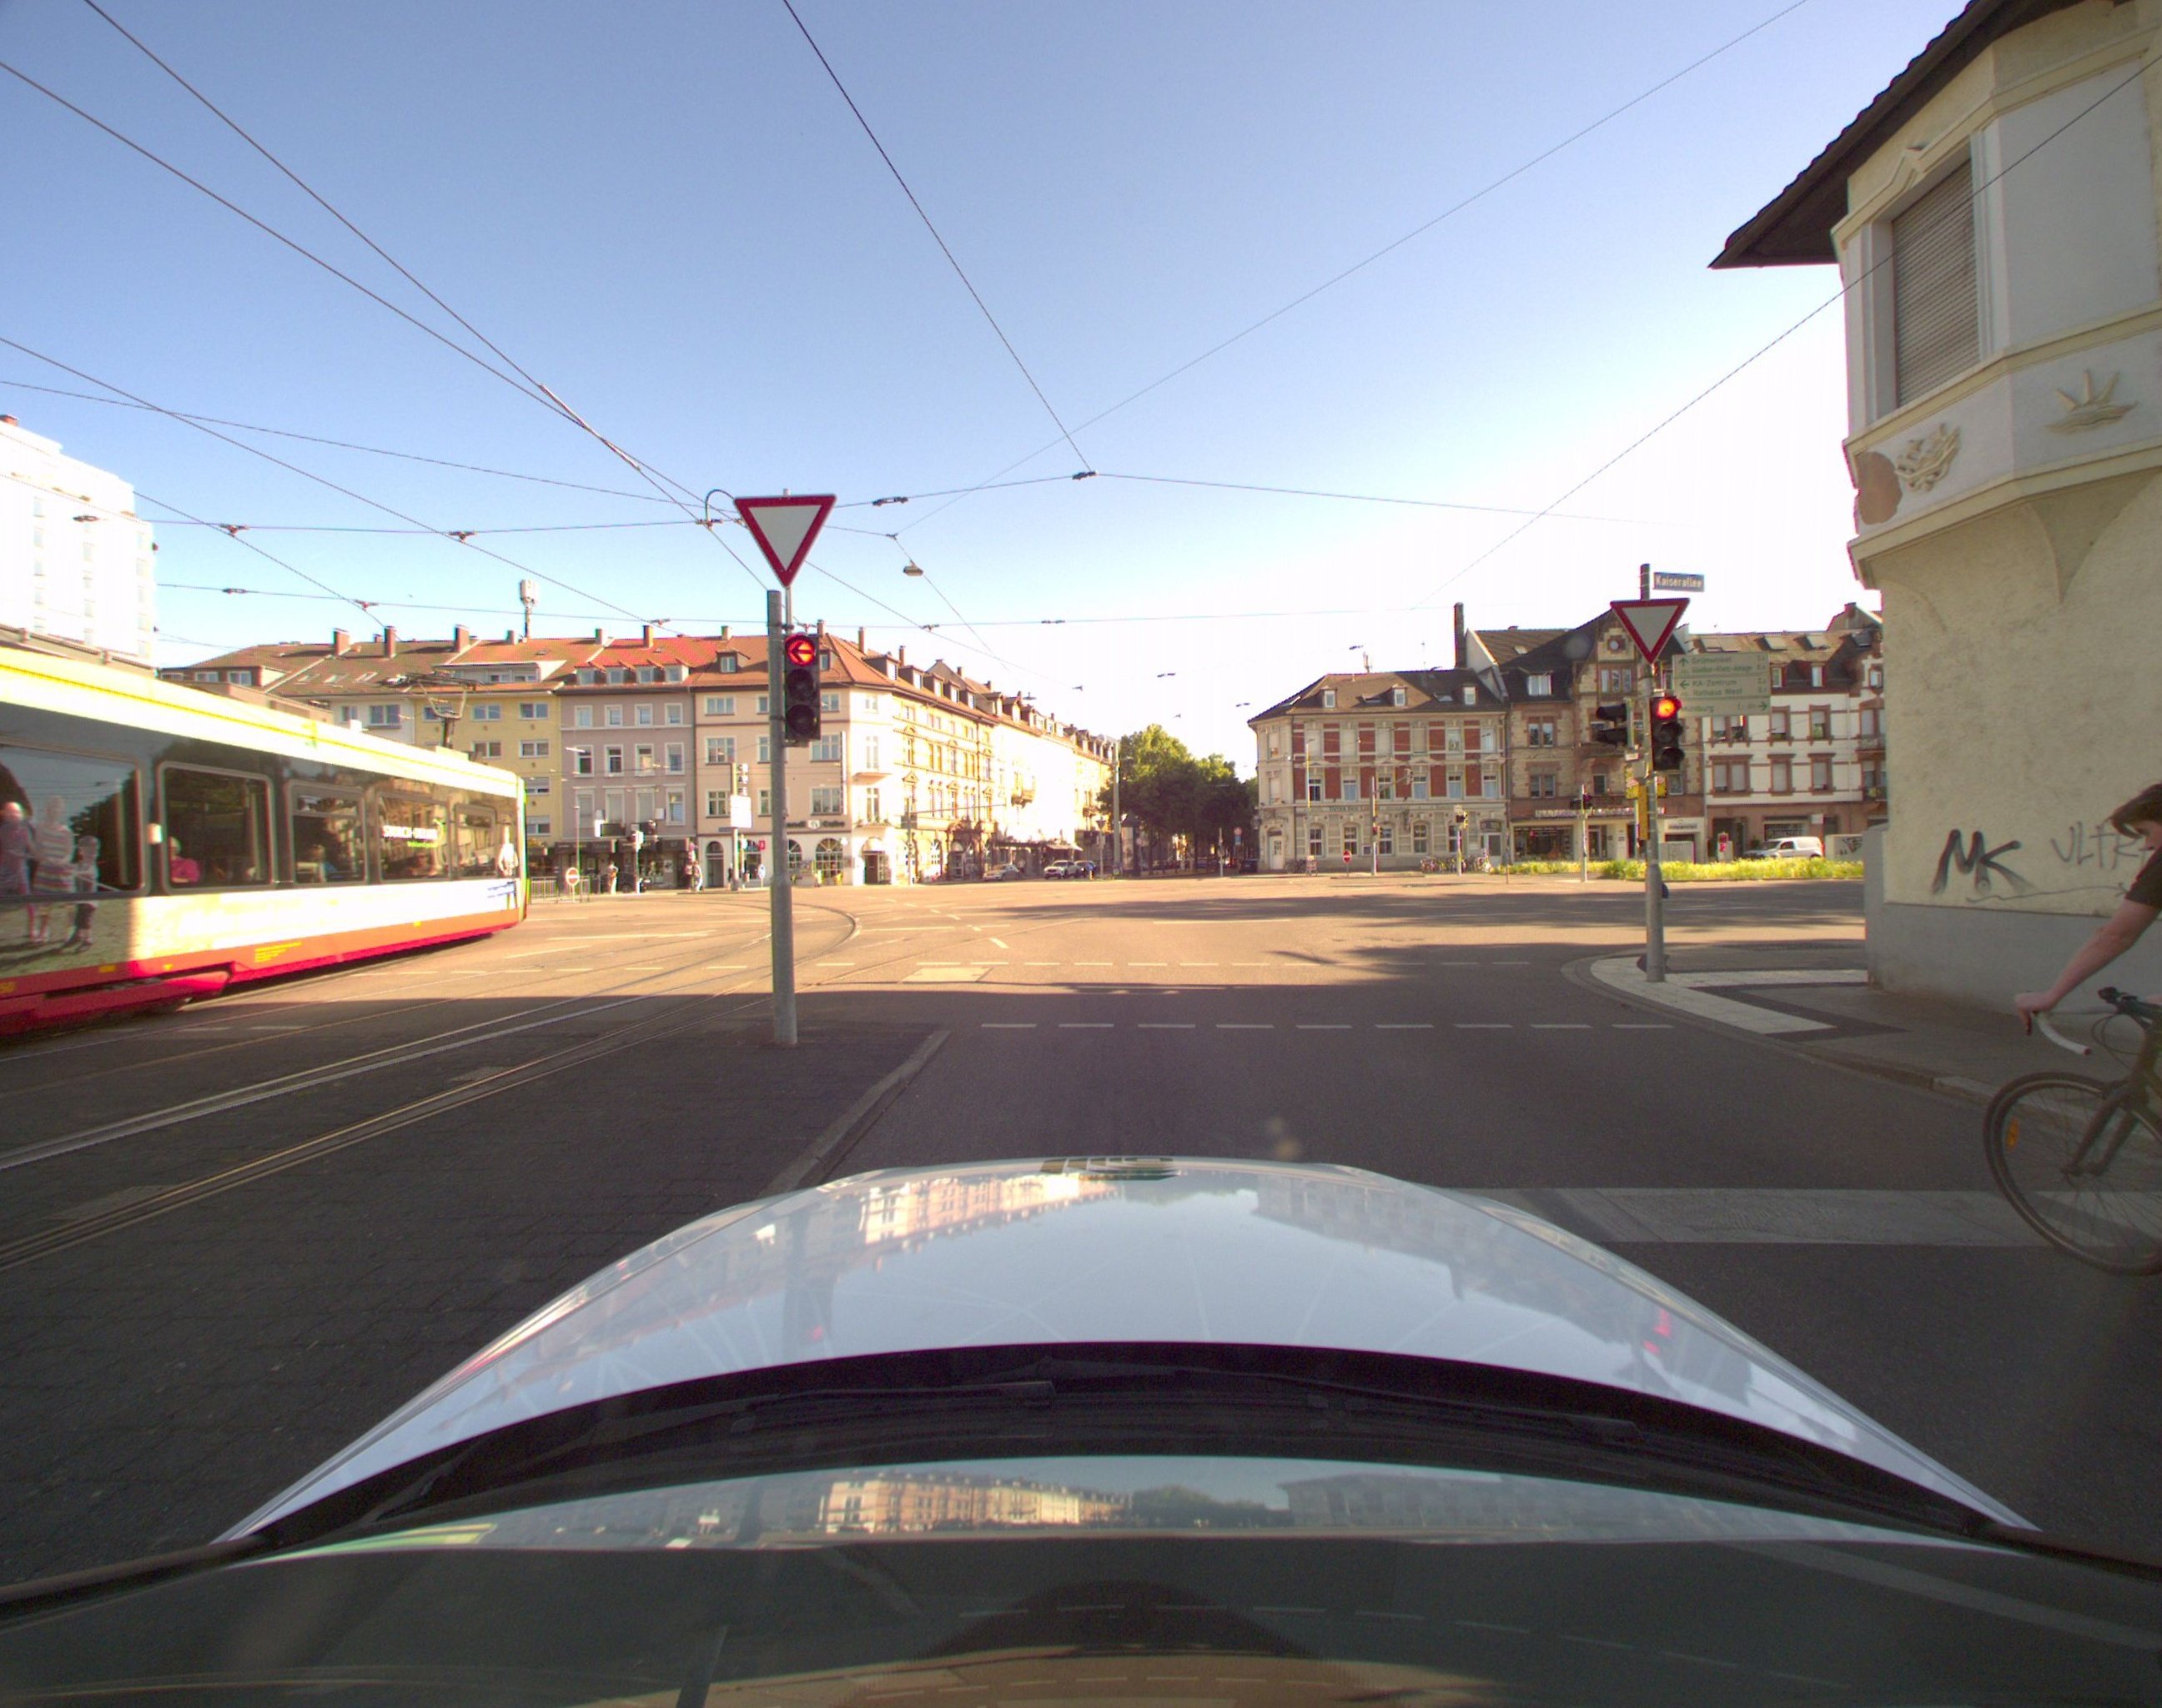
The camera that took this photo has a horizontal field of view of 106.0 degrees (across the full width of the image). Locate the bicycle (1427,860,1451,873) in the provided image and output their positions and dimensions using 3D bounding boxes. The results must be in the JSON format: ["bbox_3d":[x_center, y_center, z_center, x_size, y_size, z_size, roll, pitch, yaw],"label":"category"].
[{"bbox_3d":[23.165,0.818,52.739,0.656,0.840,2.162,0,-1,3],"label":"bicycle"}]

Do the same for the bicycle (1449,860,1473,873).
[{"bbox_3d":[24.572,0.808,52.731,0.656,0.840,2.162,0,-1,3],"label":"bicycle"}]

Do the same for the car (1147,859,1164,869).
[{"bbox_3d":[11.257,1.531,122.348,1.664,1.354,3.608,-2,0,19],"label":"car"}]

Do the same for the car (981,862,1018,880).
[{"bbox_3d":[-6.703,1.424,67.214,1.664,1.354,3.608,-2,0,19],"label":"car"}]

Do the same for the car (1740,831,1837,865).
[{"bbox_3d":[45.447,-0.384,52.382,4.406,2.013,2.002,-1,0,4],"label":"car"}]

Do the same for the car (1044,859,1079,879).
[{"bbox_3d":[-1.598,1.214,67.497,1.664,1.483,3.789,-2,0,19],"label":"car"}]

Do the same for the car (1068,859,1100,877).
[{"bbox_3d":[0.315,1.241,73.756,1.664,1.483,3.967,-2,0,19],"label":"car"}]

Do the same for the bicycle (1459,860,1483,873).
[{"bbox_3d":[25.209,0.802,52.686,0.656,0.840,2.162,0,-1,3],"label":"bicycle"}]

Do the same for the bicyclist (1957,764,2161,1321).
[{"bbox_3d":[3.573,0.572,2.487,0.570,1.701,1.117,-1,0,2],"label":"bicyclist"}]

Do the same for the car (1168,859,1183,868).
[{"bbox_3d":[15.736,1.524,135.586,1.664,1.354,3.608,-2,0,19],"label":"car"}]

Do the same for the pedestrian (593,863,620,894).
[{"bbox_3d":[-24.811,1.287,42.578,0.842,1.577,0.836,-1,-1,11],"label":"pedestrian"}]

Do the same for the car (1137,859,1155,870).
[{"bbox_3d":[9.186,1.494,115.432,1.664,1.354,3.608,-2,0,19],"label":"car"}]

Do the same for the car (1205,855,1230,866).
[{"bbox_3d":[21.464,1.061,127.705,3.549,1.648,1.691,-2,0,19],"label":"car"}]

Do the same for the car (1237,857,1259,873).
[{"bbox_3d":[16.912,1.097,82.319,1.664,1.483,3.967,-2,0,19],"label":"car"}]

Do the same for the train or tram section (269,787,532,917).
[{"bbox_3d":[-23.819,0.048,28.169,11.965,3.814,2.960,-1,0,30],"label":"train or tram section"}]

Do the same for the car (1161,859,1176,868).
[{"bbox_3d":[14.049,1.505,130.594,1.664,1.354,3.608,-2,0,19],"label":"car"}]

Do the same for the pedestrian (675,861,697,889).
[{"bbox_3d":[-22.431,1.191,46.267,0.720,1.577,0.836,-1,-1,11],"label":"pedestrian"}]

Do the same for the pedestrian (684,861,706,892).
[{"bbox_3d":[-19.961,1.139,42.095,0.545,1.577,0.838,-1,-1,29],"label":"pedestrian"}]

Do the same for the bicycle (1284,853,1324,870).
[{"bbox_3d":[15.608,0.499,57.044,2.547,1.174,0.818,0,-1,-1],"label":"bicycle"}]

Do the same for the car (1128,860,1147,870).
[{"bbox_3d":[7.711,1.491,111.309,1.664,1.354,3.608,-2,0,19],"label":"car"}]

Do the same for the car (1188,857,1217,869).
[{"bbox_3d":[17.217,1.259,115.439,3.870,1.648,1.691,-2,0,19],"label":"car"}]

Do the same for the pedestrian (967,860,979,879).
[{"bbox_3d":[-9.236,1.329,69.606,0.770,1.670,0.834,-1,-1,17],"label":"pedestrian"}]

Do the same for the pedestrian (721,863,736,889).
[{"bbox_3d":[-22.919,1.409,52.964,0.580,1.670,0.753,0,-1,2],"label":"pedestrian"}]

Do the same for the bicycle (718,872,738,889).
[{"bbox_3d":[-22.918,1.711,52.930,0.570,1.077,1.497,0,-1,2],"label":"bicycle"}]

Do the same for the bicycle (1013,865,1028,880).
[{"bbox_3d":[-4.888,1.484,65.522,0.696,1.118,1.642,-1,-1,16],"label":"bicycle"}]

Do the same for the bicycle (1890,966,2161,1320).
[{"bbox_3d":[3.597,0.953,2.495,0.516,0.970,1.750,-1,0,2],"label":"bicycle"}]

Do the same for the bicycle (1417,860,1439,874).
[{"bbox_3d":[22.430,0.823,52.680,0.656,0.840,2.162,0,-1,3],"label":"bicycle"}]

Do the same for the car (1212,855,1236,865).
[{"bbox_3d":[23.371,0.968,133.138,3.549,1.648,1.691,-2,0,19],"label":"car"}]

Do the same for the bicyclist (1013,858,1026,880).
[{"bbox_3d":[-4.935,1.209,65.402,0.772,1.803,1.060,-1,-1,16],"label":"bicyclist"}]

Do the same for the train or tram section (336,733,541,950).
[{"bbox_3d":[-15.583,-0.152,20.360,2.954,3.814,12.680,-1,0,-36],"label":"train or tram section"}]

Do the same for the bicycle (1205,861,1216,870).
[{"bbox_3d":[15.780,1.392,99.264,0.636,1.021,1.839,0,-1,-12],"label":"bicycle"}]

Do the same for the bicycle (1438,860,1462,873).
[{"bbox_3d":[23.889,0.813,52.724,0.656,0.840,2.162,0,-1,3],"label":"bicycle"}]

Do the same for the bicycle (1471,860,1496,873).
[{"bbox_3d":[26.013,0.797,52.700,0.656,0.840,2.162,0,-1,3],"label":"bicycle"}]

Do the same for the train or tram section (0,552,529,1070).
[{"bbox_3d":[-10.474,-0.263,9.368,2.939,3.814,12.979,-1,0,-17],"label":"train or tram section"}]

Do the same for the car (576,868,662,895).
[{"bbox_3d":[-30.361,1.788,53.628,4.347,1.711,2.308,0,-1,4],"label":"car"}]
